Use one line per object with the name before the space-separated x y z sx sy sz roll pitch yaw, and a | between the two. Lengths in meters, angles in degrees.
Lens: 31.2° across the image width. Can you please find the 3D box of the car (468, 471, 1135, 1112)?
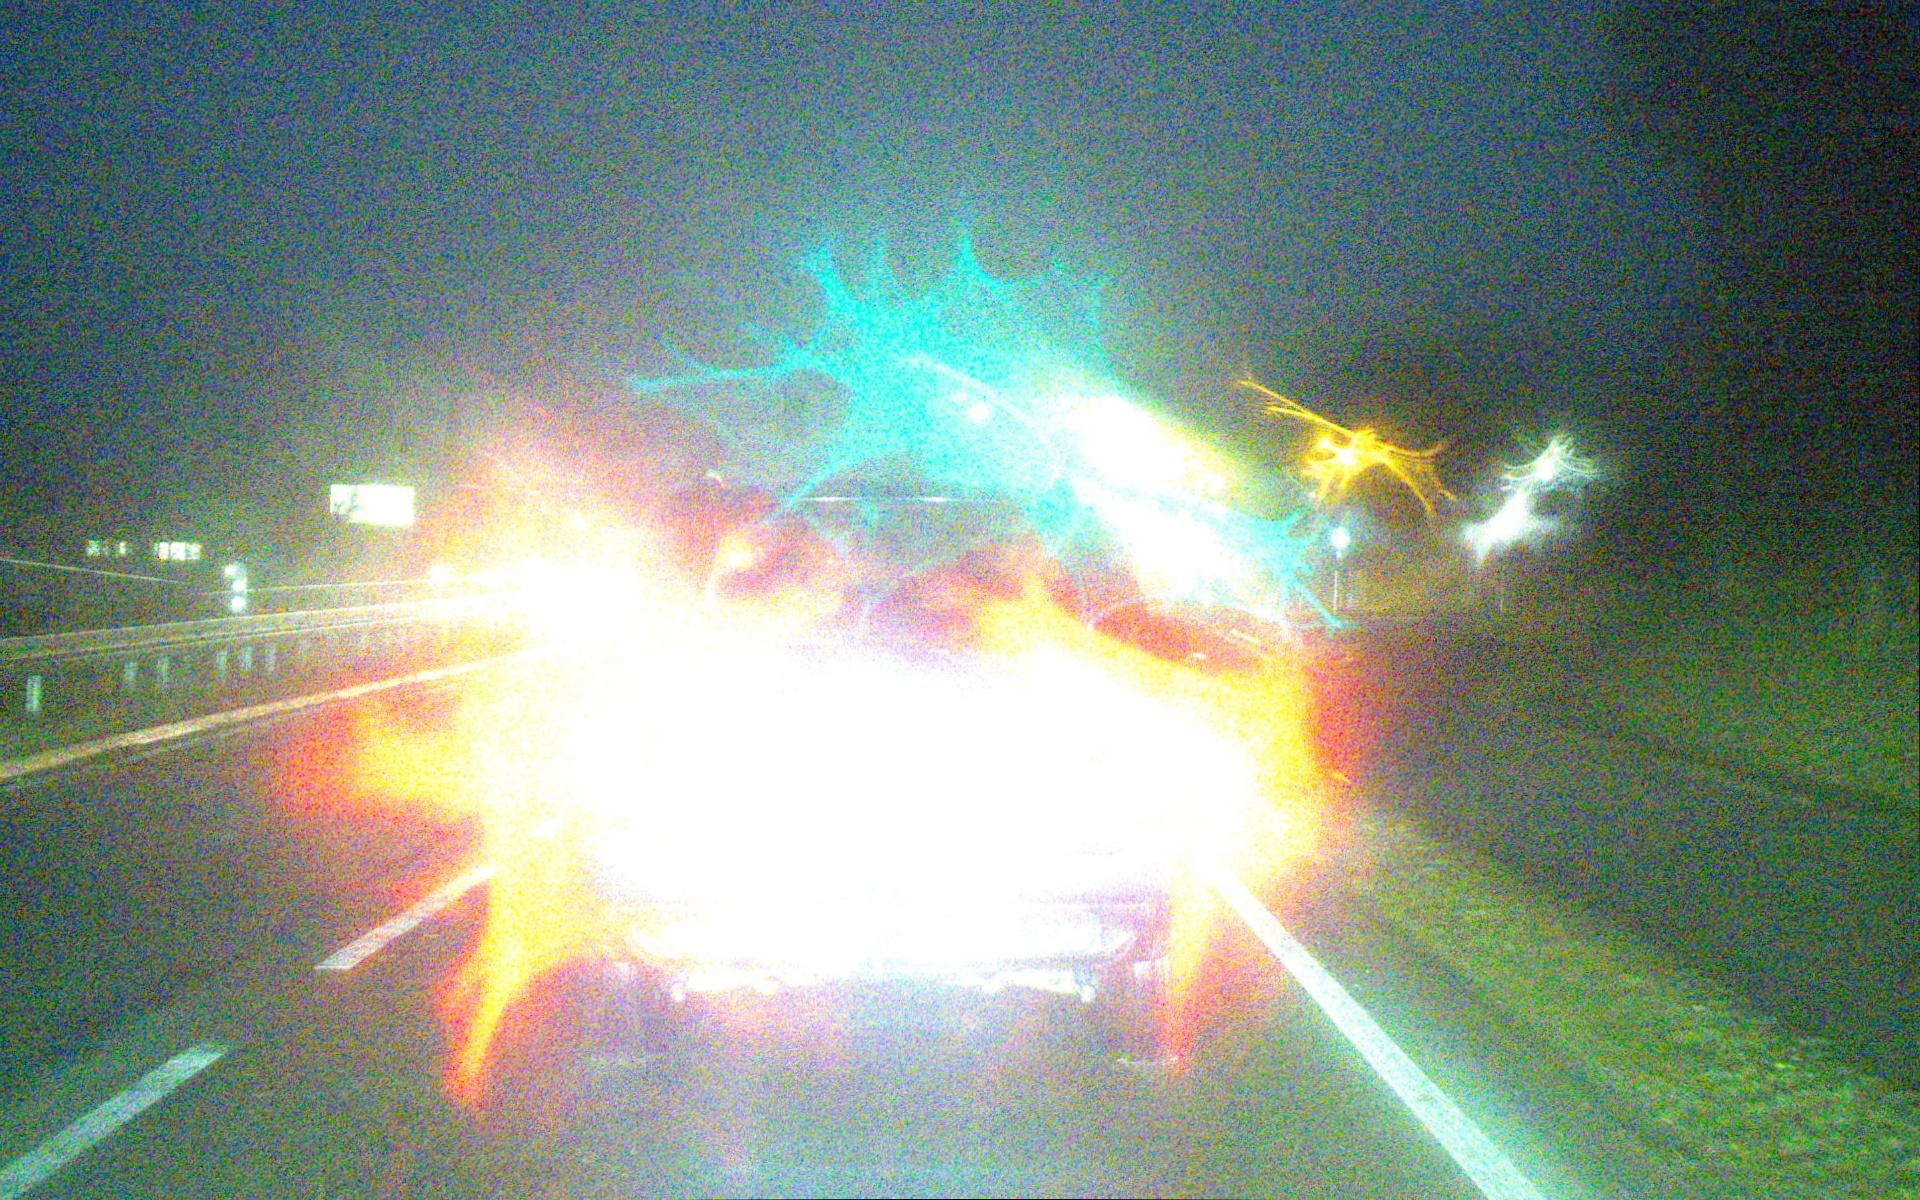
car | -0.423 0.499 11.202 1.775 1.706 4.000 0 0 0
